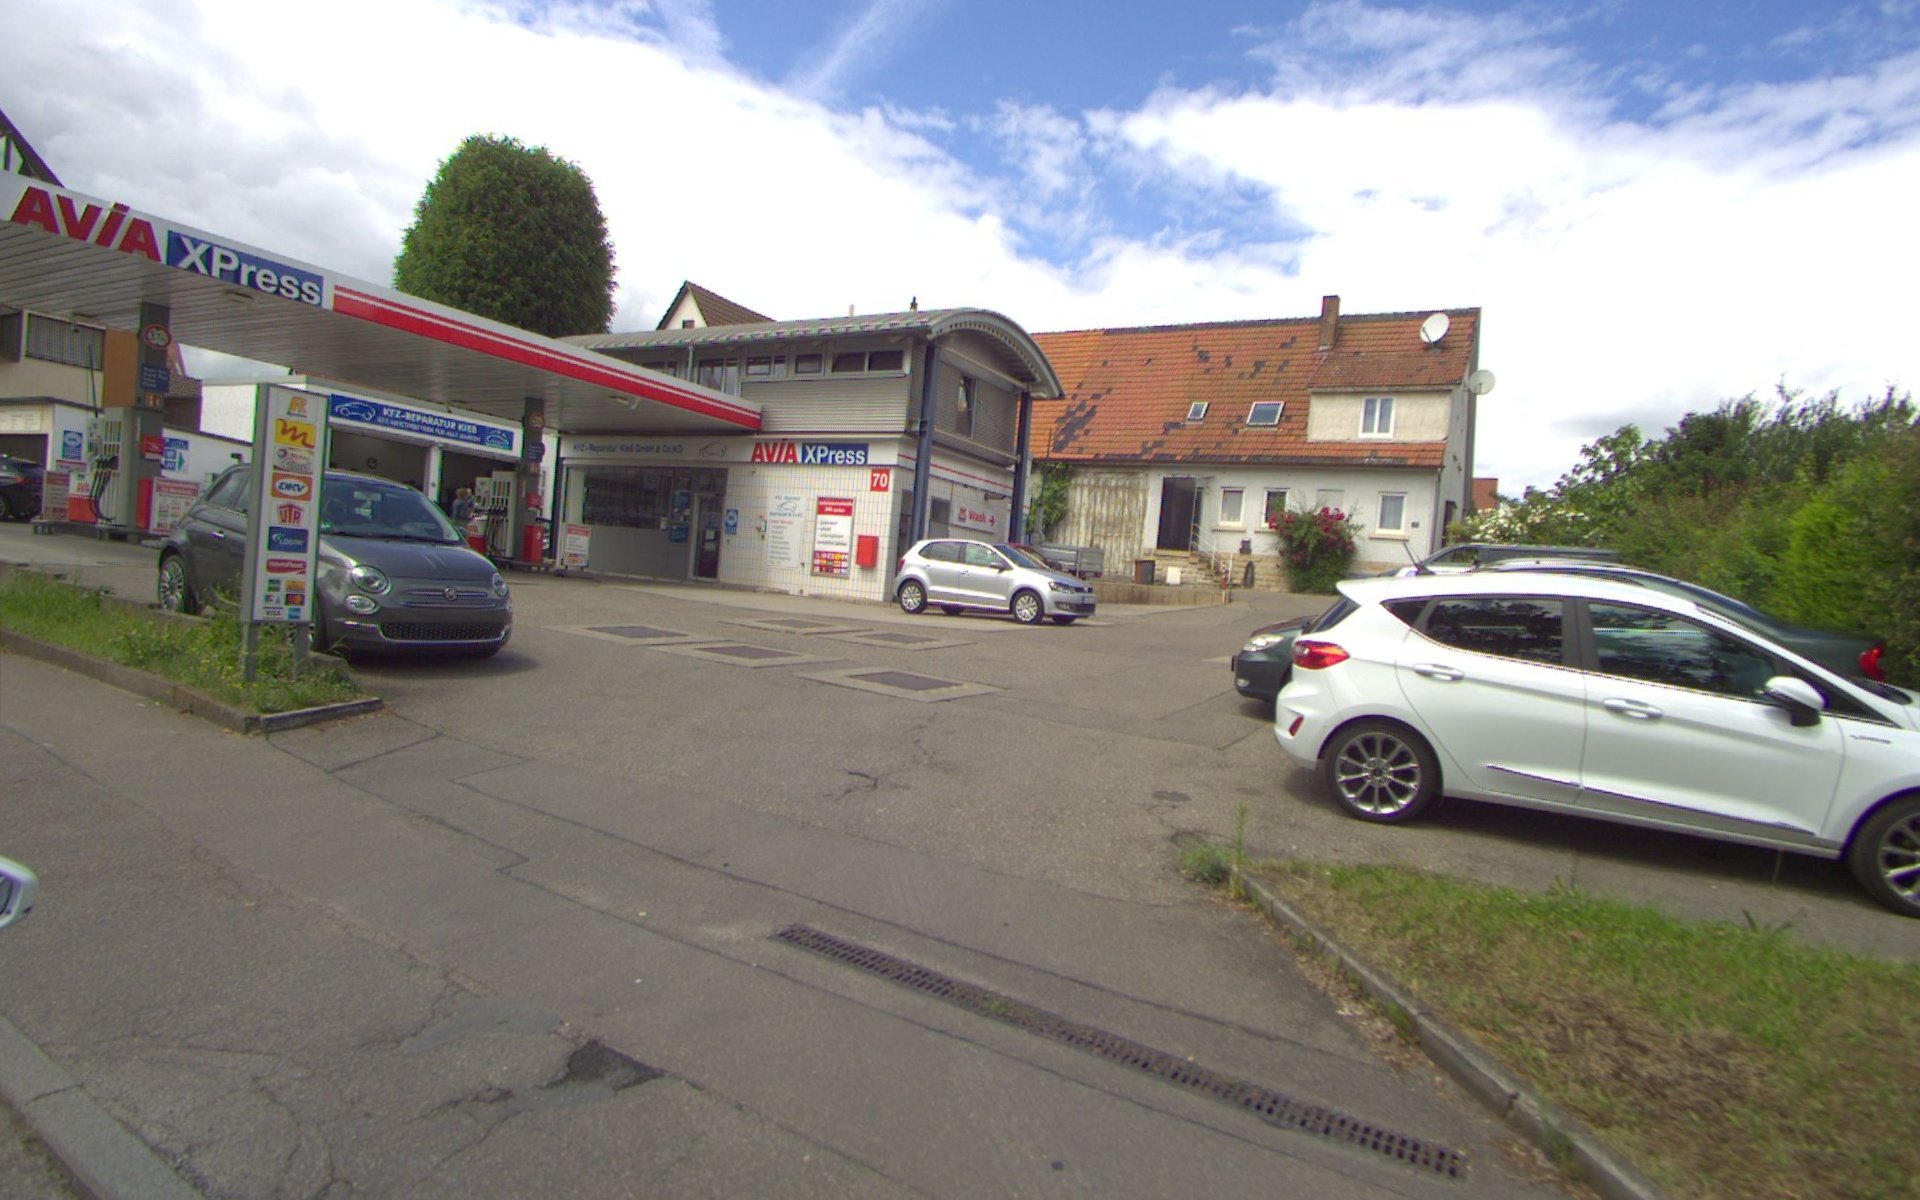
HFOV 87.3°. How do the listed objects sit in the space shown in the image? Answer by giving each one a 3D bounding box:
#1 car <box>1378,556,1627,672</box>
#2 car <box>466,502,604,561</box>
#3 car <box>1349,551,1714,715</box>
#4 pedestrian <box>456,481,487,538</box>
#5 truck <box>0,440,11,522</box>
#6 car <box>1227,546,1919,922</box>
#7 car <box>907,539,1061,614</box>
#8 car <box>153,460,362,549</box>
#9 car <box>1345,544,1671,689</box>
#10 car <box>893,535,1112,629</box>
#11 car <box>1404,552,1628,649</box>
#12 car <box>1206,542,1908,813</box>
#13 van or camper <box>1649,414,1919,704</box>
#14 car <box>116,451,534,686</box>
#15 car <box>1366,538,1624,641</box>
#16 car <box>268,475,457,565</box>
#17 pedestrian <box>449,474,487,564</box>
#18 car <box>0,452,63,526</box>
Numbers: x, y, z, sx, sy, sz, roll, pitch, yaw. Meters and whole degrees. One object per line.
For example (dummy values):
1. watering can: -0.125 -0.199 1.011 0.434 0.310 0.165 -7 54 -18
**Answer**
1. car: 9.107 0.158 17.094 3.438 1.592 1.566 6 5 28
2. car: -13.548 -2.143 32.220 1.594 1.461 3.740 12 6 32
3. car: 7.081 0.307 12.816 3.682 1.608 1.636 6 5 28
4. pedestrian: -16.937 -3.127 34.888 0.664 1.868 0.683 6 1 -13
5. truck: -31.949 -3.959 29.752 2.317 2.489 5.092 8 2 30
6. car: 3.877 0.599 5.861 4.131 1.551 1.634 6 5 28
7. car: 0.609 -0.471 22.020 1.595 1.479 3.740 4 1 33
8. car: -19.502 -2.579 28.036 4.573 1.738 1.805 7 0 -40
9. car: 8.082 0.151 15.157 3.978 1.708 1.566 6 5 28
10. car: 0.750 -0.380 18.554 3.687 1.522 1.628 3 4 32
11. car: 11.684 -0.056 21.369 3.884 1.656 1.566 6 5 28
12. car: 4.649 0.436 8.589 4.577 1.565 1.711 6 5 29
13. van or camper: 10.941 -0.521 12.867 2.487 2.893 5.957 7 5 27
14. car: -5.744 -0.427 8.980 4.092 1.620 1.611 7 8 34
15. car: 12.515 -0.320 23.850 5.048 1.946 1.918 6 5 28
16. car: -13.242 -1.789 22.211 4.496 1.629 1.631 6 1 32
17. pedestrian: -11.218 -1.838 22.937 0.579 1.960 0.537 6 1 -23
18. car: -24.015 -2.758 23.487 4.260 1.654 1.624 3 5 -24
